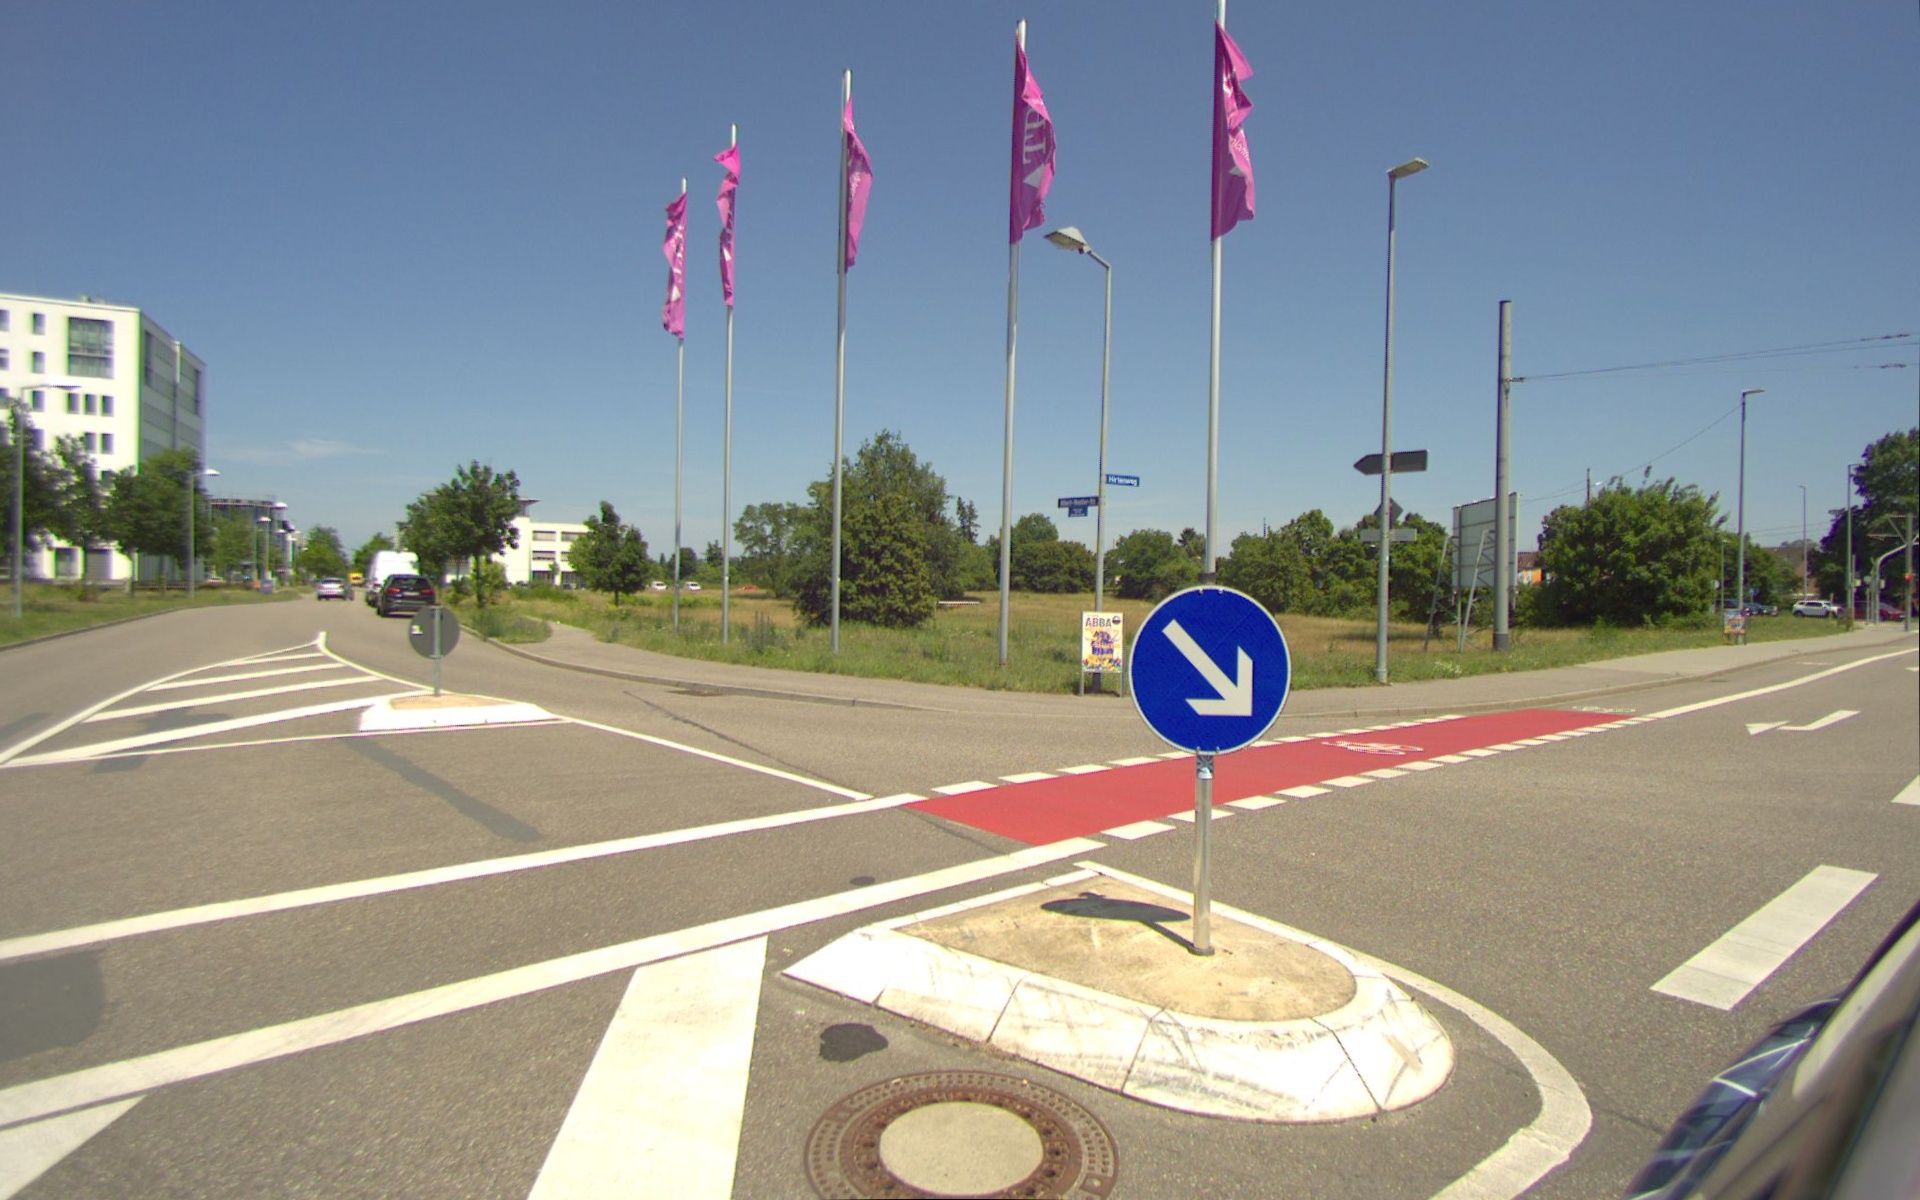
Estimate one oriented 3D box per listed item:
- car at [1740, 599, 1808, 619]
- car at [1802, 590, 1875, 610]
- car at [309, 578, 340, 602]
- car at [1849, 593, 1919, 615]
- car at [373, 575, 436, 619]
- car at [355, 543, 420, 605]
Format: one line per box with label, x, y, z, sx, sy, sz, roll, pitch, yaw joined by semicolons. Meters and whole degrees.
car;69.630;0.737;86.655;1.836;1.596;4.420;1;0;-10
car;73.628;0.001;84.908;1.836;1.596;4.420;1;0;-10
car;-42.685;-0.646;68.033;1.672;1.552;3.630;0;-1;-31
car;71.598;0.263;77.960;1.836;1.596;4.420;1;0;-10
car;-21.045;-0.079;38.284;1.673;1.552;3.627;0;-1;-35
car;-28.148;-1.214;49.658;2.615;2.837;6.859;-1;0;-31
